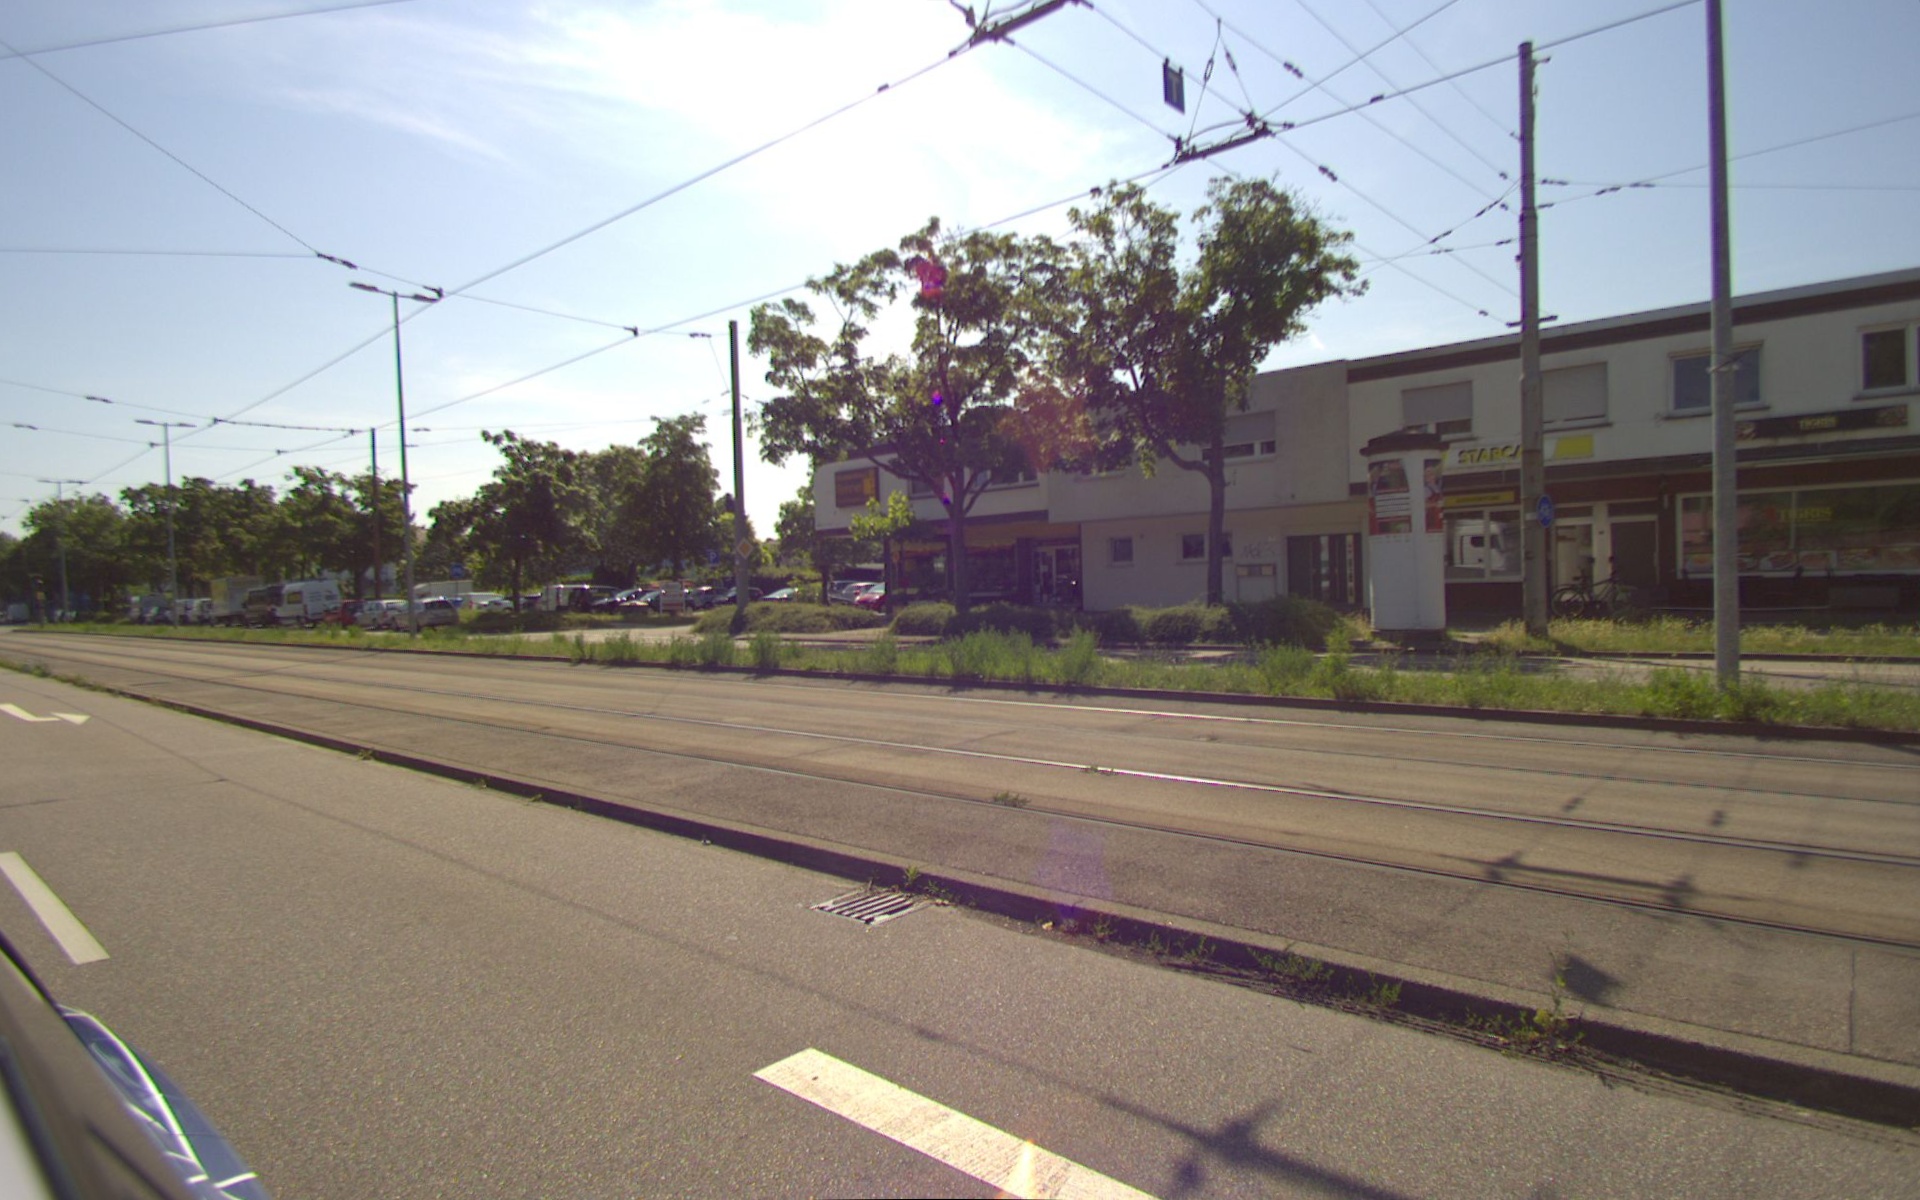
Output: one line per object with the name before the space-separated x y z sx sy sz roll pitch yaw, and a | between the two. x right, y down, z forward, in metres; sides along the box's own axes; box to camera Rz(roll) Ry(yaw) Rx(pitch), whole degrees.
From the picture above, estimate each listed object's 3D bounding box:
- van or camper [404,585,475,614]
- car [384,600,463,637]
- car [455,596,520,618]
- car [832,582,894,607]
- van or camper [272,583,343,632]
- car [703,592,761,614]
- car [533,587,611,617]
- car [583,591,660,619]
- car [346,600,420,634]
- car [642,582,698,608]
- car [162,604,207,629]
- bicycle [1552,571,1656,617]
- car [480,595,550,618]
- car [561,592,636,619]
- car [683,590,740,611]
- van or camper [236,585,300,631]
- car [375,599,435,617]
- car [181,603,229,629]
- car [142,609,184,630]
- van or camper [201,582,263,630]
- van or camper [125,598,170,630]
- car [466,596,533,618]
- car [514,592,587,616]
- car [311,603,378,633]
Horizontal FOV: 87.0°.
van or camper | -53.058 -0.085 103.256 2.299 2.751 6.002 -1 1 43
car | -25.155 0.841 47.432 4.285 1.506 1.868 -1 4 43
car | -31.551 0.465 67.626 1.710 1.291 3.580 -1 1 39
car | -5.833 -0.354 61.329 1.710 1.372 3.580 -1 1 39
van or camper | -37.104 0.430 57.527 4.836 2.652 2.014 -1 1 41
car | -15.635 0.170 69.388 1.710 1.372 3.580 -1 1 39
car | -22.205 0.124 58.000 1.949 1.581 3.703 -1 1 39
car | -18.223 0.255 54.637 1.710 1.372 3.580 -1 1 39
car | -29.086 0.861 50.969 4.282 1.572 1.869 -1 1 41
car | -21.274 -0.364 74.398 1.710 1.791 3.580 -1 1 39
car | -59.738 1.280 77.941 4.229 1.781 1.869 -1 1 41
bicycle | 14.647 -0.123 23.049 1.910 0.990 0.750 -1 1 41
car | -28.017 0.418 63.784 1.811 1.291 3.580 -1 1 39
car | -20.174 0.280 56.576 1.710 1.372 3.580 -1 1 39
car | -17.476 0.035 71.227 1.710 1.372 3.580 -1 1 39
van or camper | -42.490 0.500 62.078 4.836 2.652 2.014 -1 1 41
car | -42.367 0.605 77.308 1.710 1.291 3.580 -1 1 39
car | -54.651 1.185 73.222 4.229 1.747 1.869 -1 1 41
car | -64.379 1.603 81.734 4.229 1.572 1.869 -1 1 41
van or camper | -48.429 0.399 67.278 5.278 3.007 2.101 -1 1 41
van or camper | -69.424 1.168 86.492 5.450 2.639 2.087 -1 0 41
car | -29.942 0.445 65.915 1.710 1.291 3.580 -1 1 39
car | -24.016 0.233 59.455 1.710 1.294 3.580 -1 1 39
car | -33.162 0.982 54.483 4.229 1.506 1.869 -1 1 41
